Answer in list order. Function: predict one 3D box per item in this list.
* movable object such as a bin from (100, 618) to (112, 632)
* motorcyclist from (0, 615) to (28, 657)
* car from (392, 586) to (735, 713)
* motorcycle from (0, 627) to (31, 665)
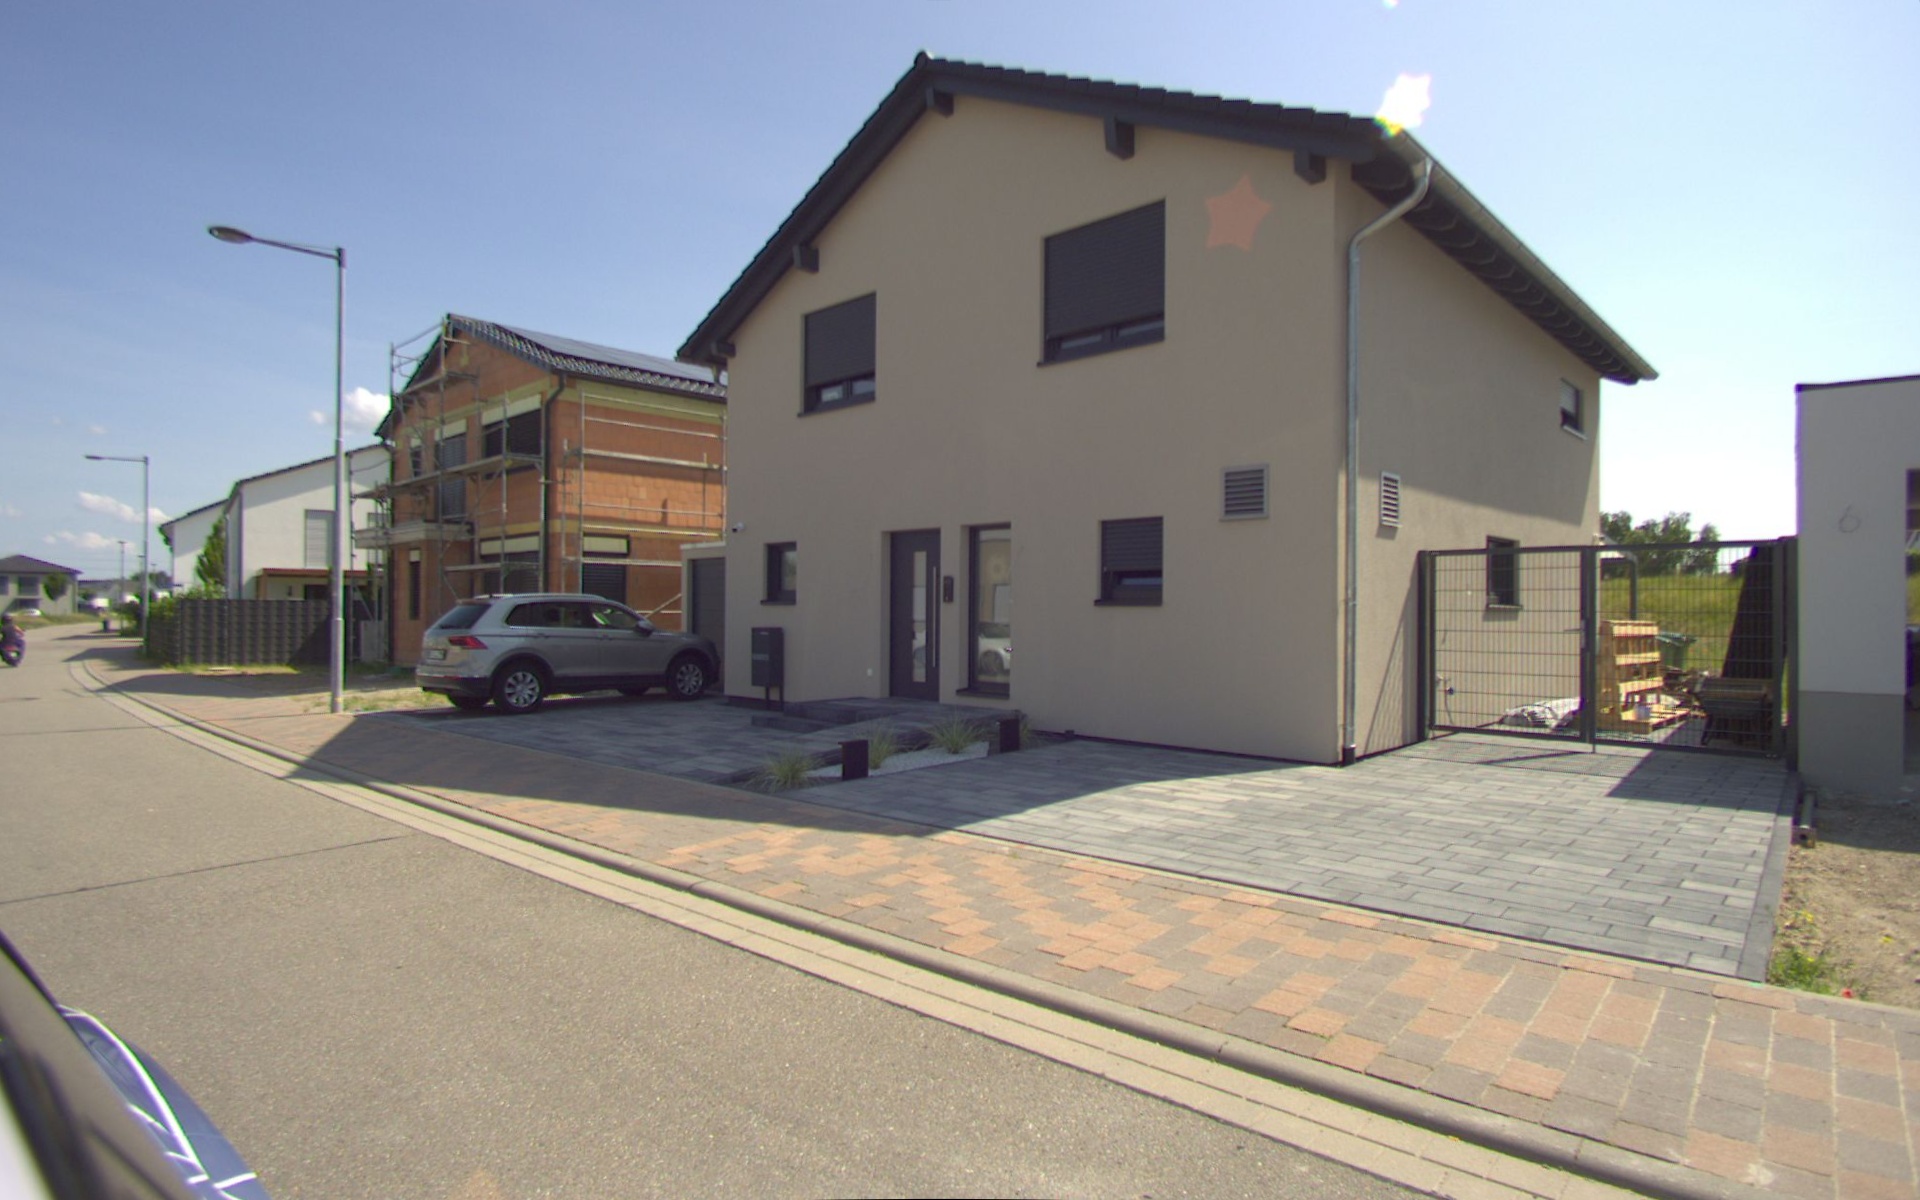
[{"bbox_3d":[-59.196,1.731,70.115,0.588,0.928,0.462,1,-1,-36],"label":"movable object such as a bin"},{"bbox_3d":[-28.596,1.069,30.343,0.913,1.232,0.805,-1,-1,-41],"label":"motorcyclist"},{"bbox_3d":[-5.786,0.681,15.213,1.999,1.624,4.379,-1,-2,41],"label":"car"},{"bbox_3d":[-28.550,1.363,30.311,0.944,1.043,2.440,-2,1,-40],"label":"motorcycle"}]
